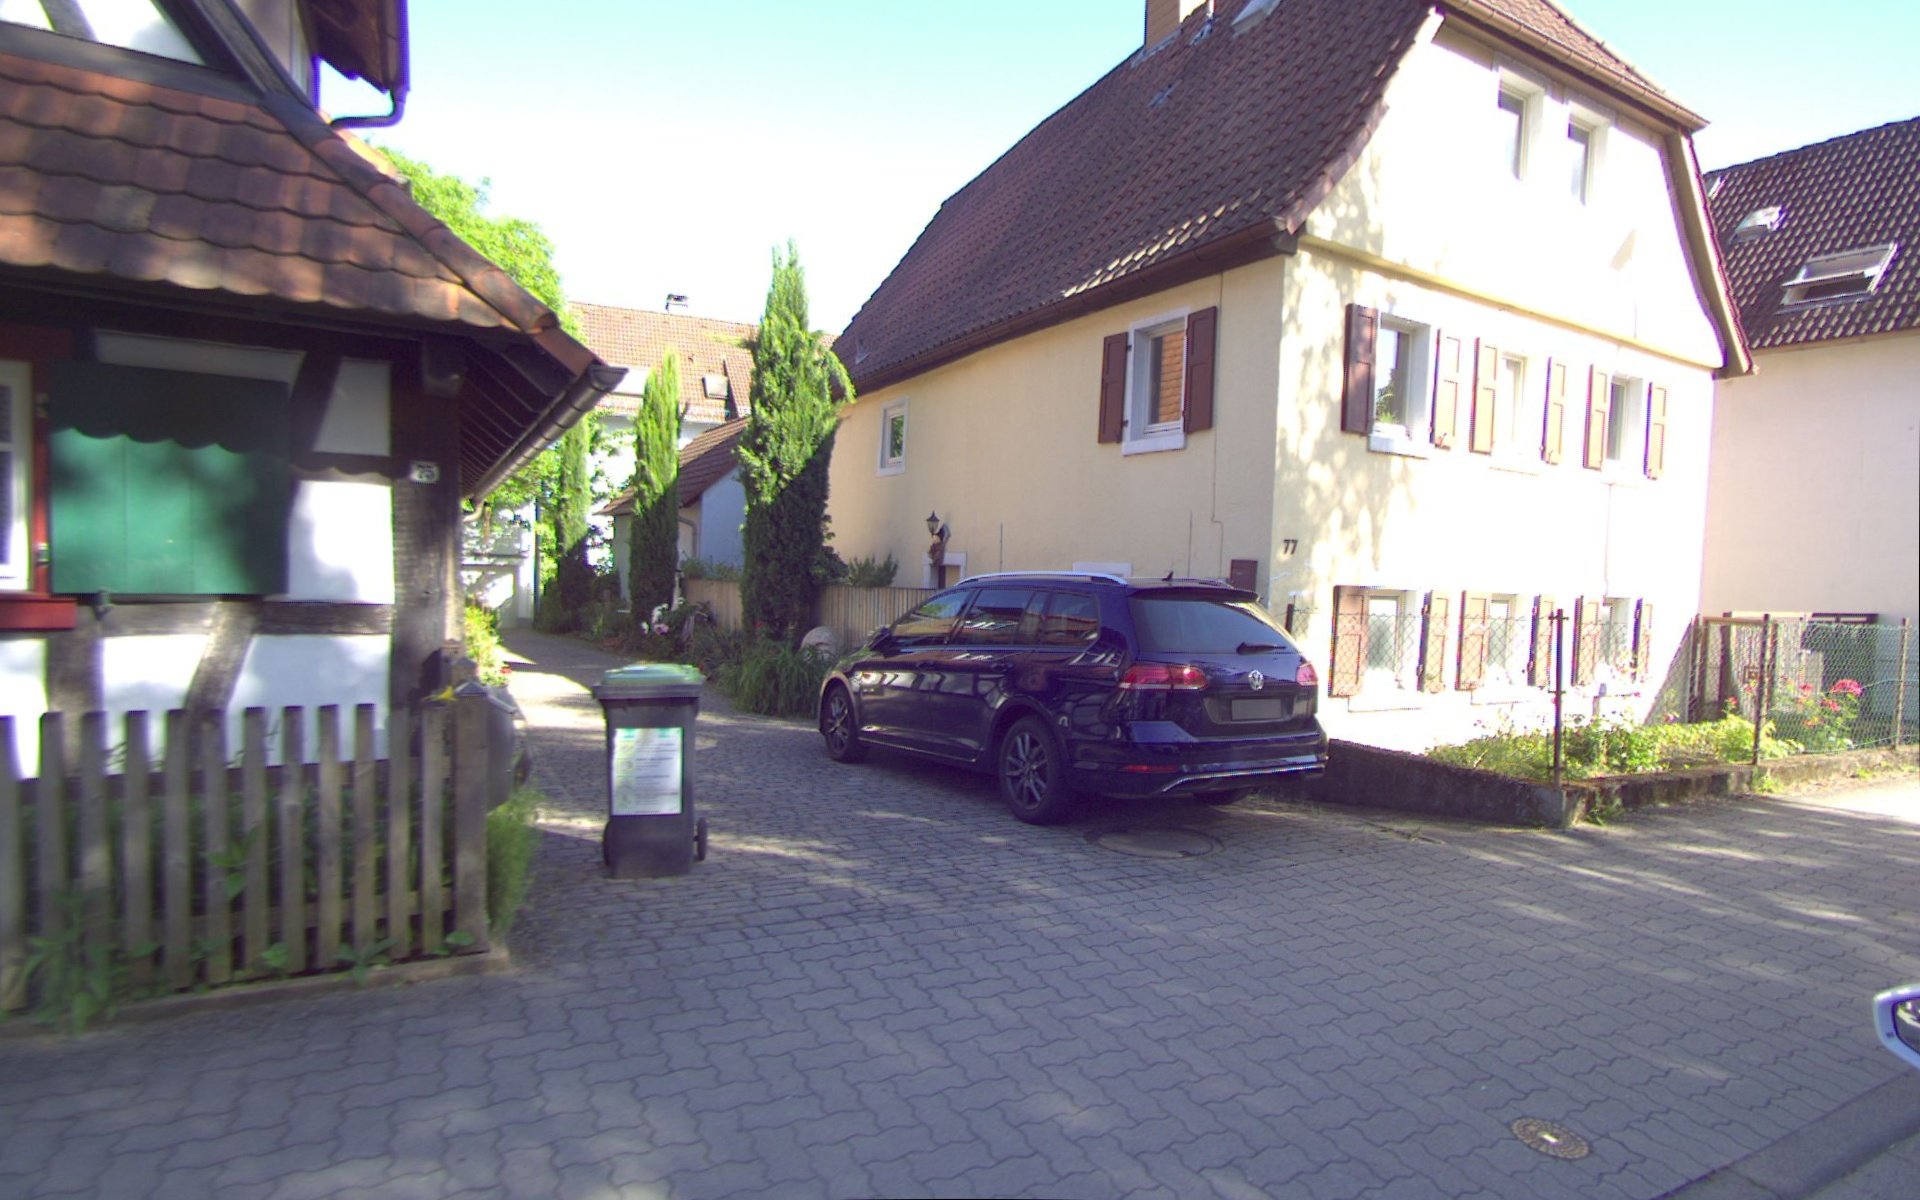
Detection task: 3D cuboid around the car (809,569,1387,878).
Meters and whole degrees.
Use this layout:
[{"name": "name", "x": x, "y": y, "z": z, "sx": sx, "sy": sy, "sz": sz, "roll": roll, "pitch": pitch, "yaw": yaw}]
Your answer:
[{"name": "car", "x": 0.605, "y": 0.592, "z": 7.070, "sx": 1.828, "sy": 1.481, "sz": 4.135, "roll": 1, "pitch": 0, "yaw": -32}]

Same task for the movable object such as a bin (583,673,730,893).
[{"name": "movable object such as a bin", "x": -1.378, "y": 0.811, "z": 4.638, "sx": 0.545, "sy": 0.910, "sz": 0.585, "roll": 1, "pitch": 0, "yaw": -8}]
